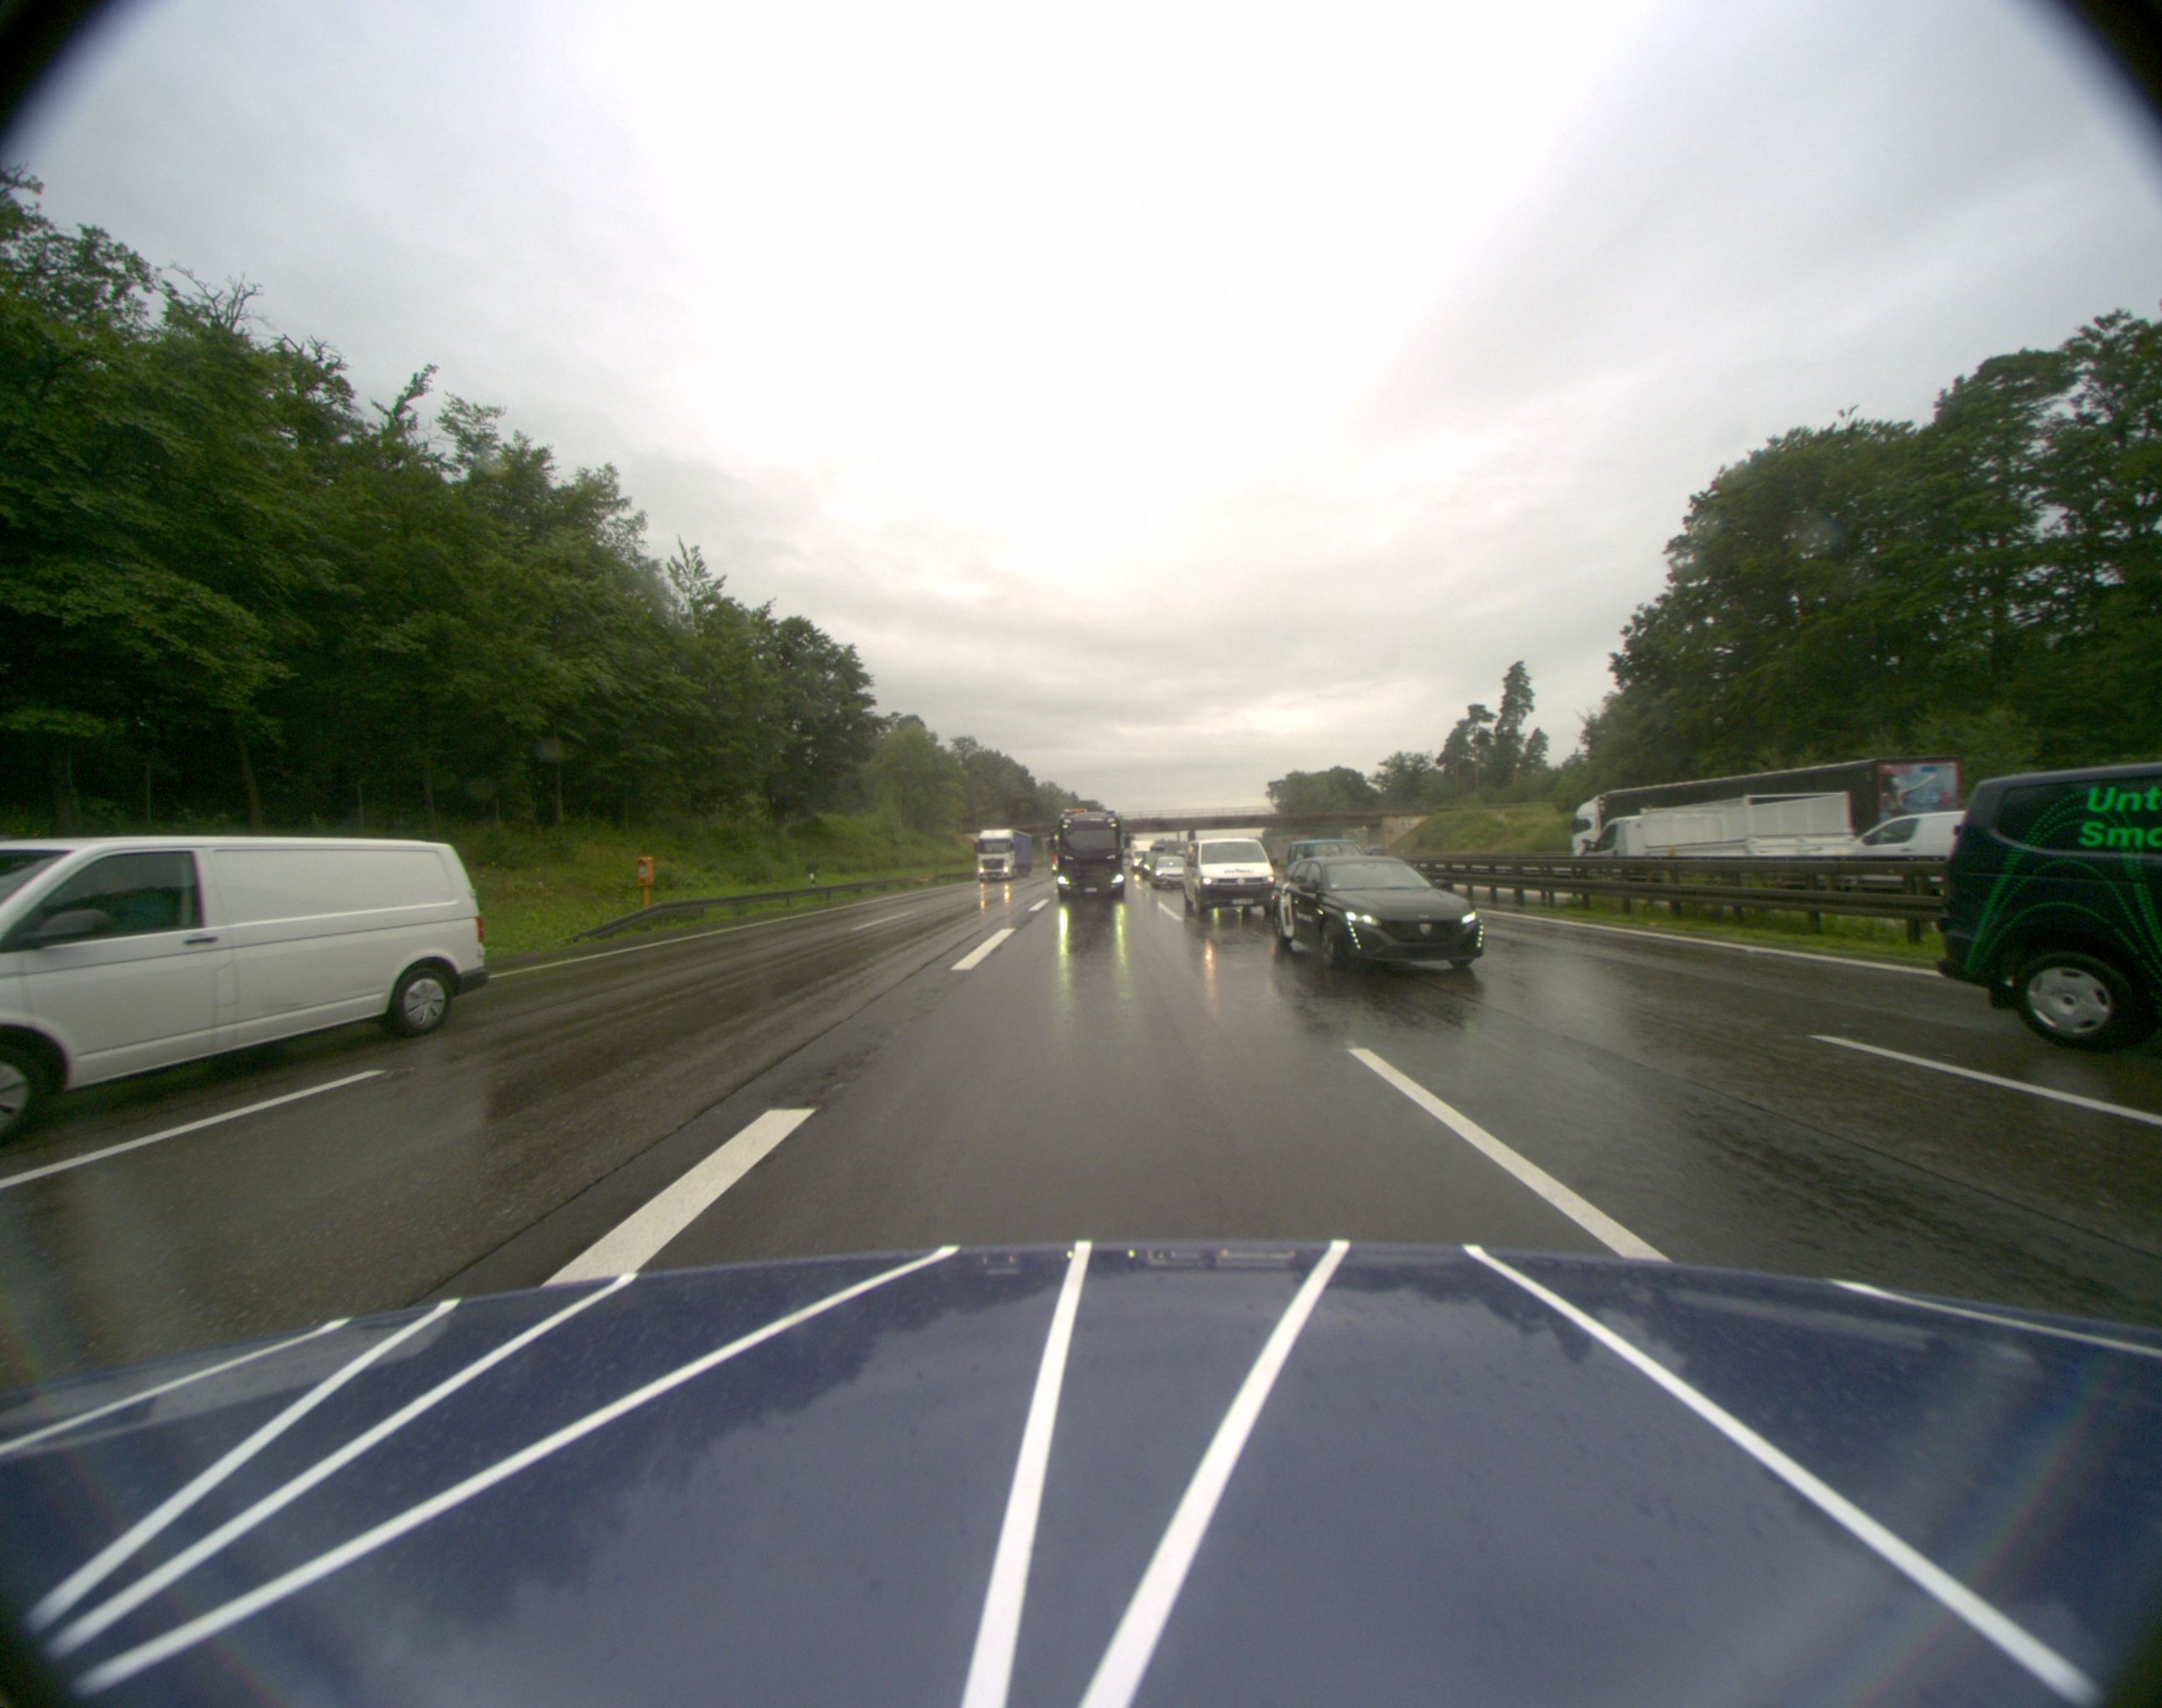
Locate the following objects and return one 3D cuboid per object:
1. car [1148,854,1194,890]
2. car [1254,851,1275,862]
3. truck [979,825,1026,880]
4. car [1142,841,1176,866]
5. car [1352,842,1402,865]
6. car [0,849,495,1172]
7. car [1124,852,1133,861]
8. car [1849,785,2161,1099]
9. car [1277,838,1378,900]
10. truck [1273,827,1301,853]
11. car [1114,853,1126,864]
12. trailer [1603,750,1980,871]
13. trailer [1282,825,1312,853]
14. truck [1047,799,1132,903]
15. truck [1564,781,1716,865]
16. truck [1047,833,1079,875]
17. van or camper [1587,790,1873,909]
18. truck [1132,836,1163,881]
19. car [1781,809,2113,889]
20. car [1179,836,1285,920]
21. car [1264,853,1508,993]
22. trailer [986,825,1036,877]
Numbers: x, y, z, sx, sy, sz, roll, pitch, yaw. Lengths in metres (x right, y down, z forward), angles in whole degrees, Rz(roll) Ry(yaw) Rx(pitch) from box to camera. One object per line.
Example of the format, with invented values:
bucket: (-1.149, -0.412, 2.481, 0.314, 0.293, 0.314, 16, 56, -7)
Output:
car: (4.254, 0.809, 36.312, 1.850, 1.496, 4.467, -2, 0, 3)
car: (23.116, 0.306, 95.955, 1.705, 1.297, 3.757, -2, 0, 1)
truck: (-6.174, -0.159, 60.499, 2.607, 3.990, 6.013, -3, 1, 3)
car: (5.258, -0.053, 51.783, 1.994, 1.551, 4.768, -2, 0, 3)
car: (20.865, 0.000, 53.755, 1.840, 1.489, 4.332, -2, 0, 0)
car: (-7.401, 0.961, 5.861, 1.995, 1.909, 4.767, -2, 0, 0)
car: (11.160, 0.535, 178.696, 1.864, 1.556, 4.429, -2, 8, 1)
car: (7.611, 0.513, 3.957, 1.996, 1.932, 5.243, -2, 0, 2)
car: (8.149, 0.444, 25.632, 1.915, 1.852, 4.759, -2, 0, 1)
truck: (32.863, -2.162, 121.414, 2.709, 3.909, 10.031, -2, 0, 6)
car: (7.535, 0.867, 147.332, 1.998, 2.002, 4.000, -2, 0, 1)
trailer: (27.633, -1.414, 31.340, 3.032, 3.795, 13.561, -2, 0, 1)
trailer: (31.816, -2.120, 112.183, 2.688, 3.795, 9.010, -2, 0, 6)
truck: (0.632, -0.160, 32.109, 2.879, 3.528, 10.912, -2, 1, 3)
truck: (27.807, -1.446, 38.206, 3.028, 3.795, 6.264, -2, 0, 1)
truck: (-1.740, -0.037, 76.729, 2.607, 3.934, 5.601, -2, 1, 4)
van or camper: (15.509, -0.105, 18.777, 2.233, 2.408, 5.701, -2, 0, 1)
truck: (6.201, 0.390, 71.880, 2.520, 3.941, 6.995, -2, 0, 3)
car: (18.808, -0.081, 16.953, 1.999, 1.498, 4.706, -1, 0, -1)
car: (3.793, 0.558, 19.934, 1.994, 1.869, 4.768, -2, 0, 3)
car: (3.977, 0.784, 10.828, 1.850, 1.496, 4.467, -2, 0, 3)
trailer: (-5.988, -0.297, 67.133, 2.560, 3.990, 13.715, -2, 0, 2)
